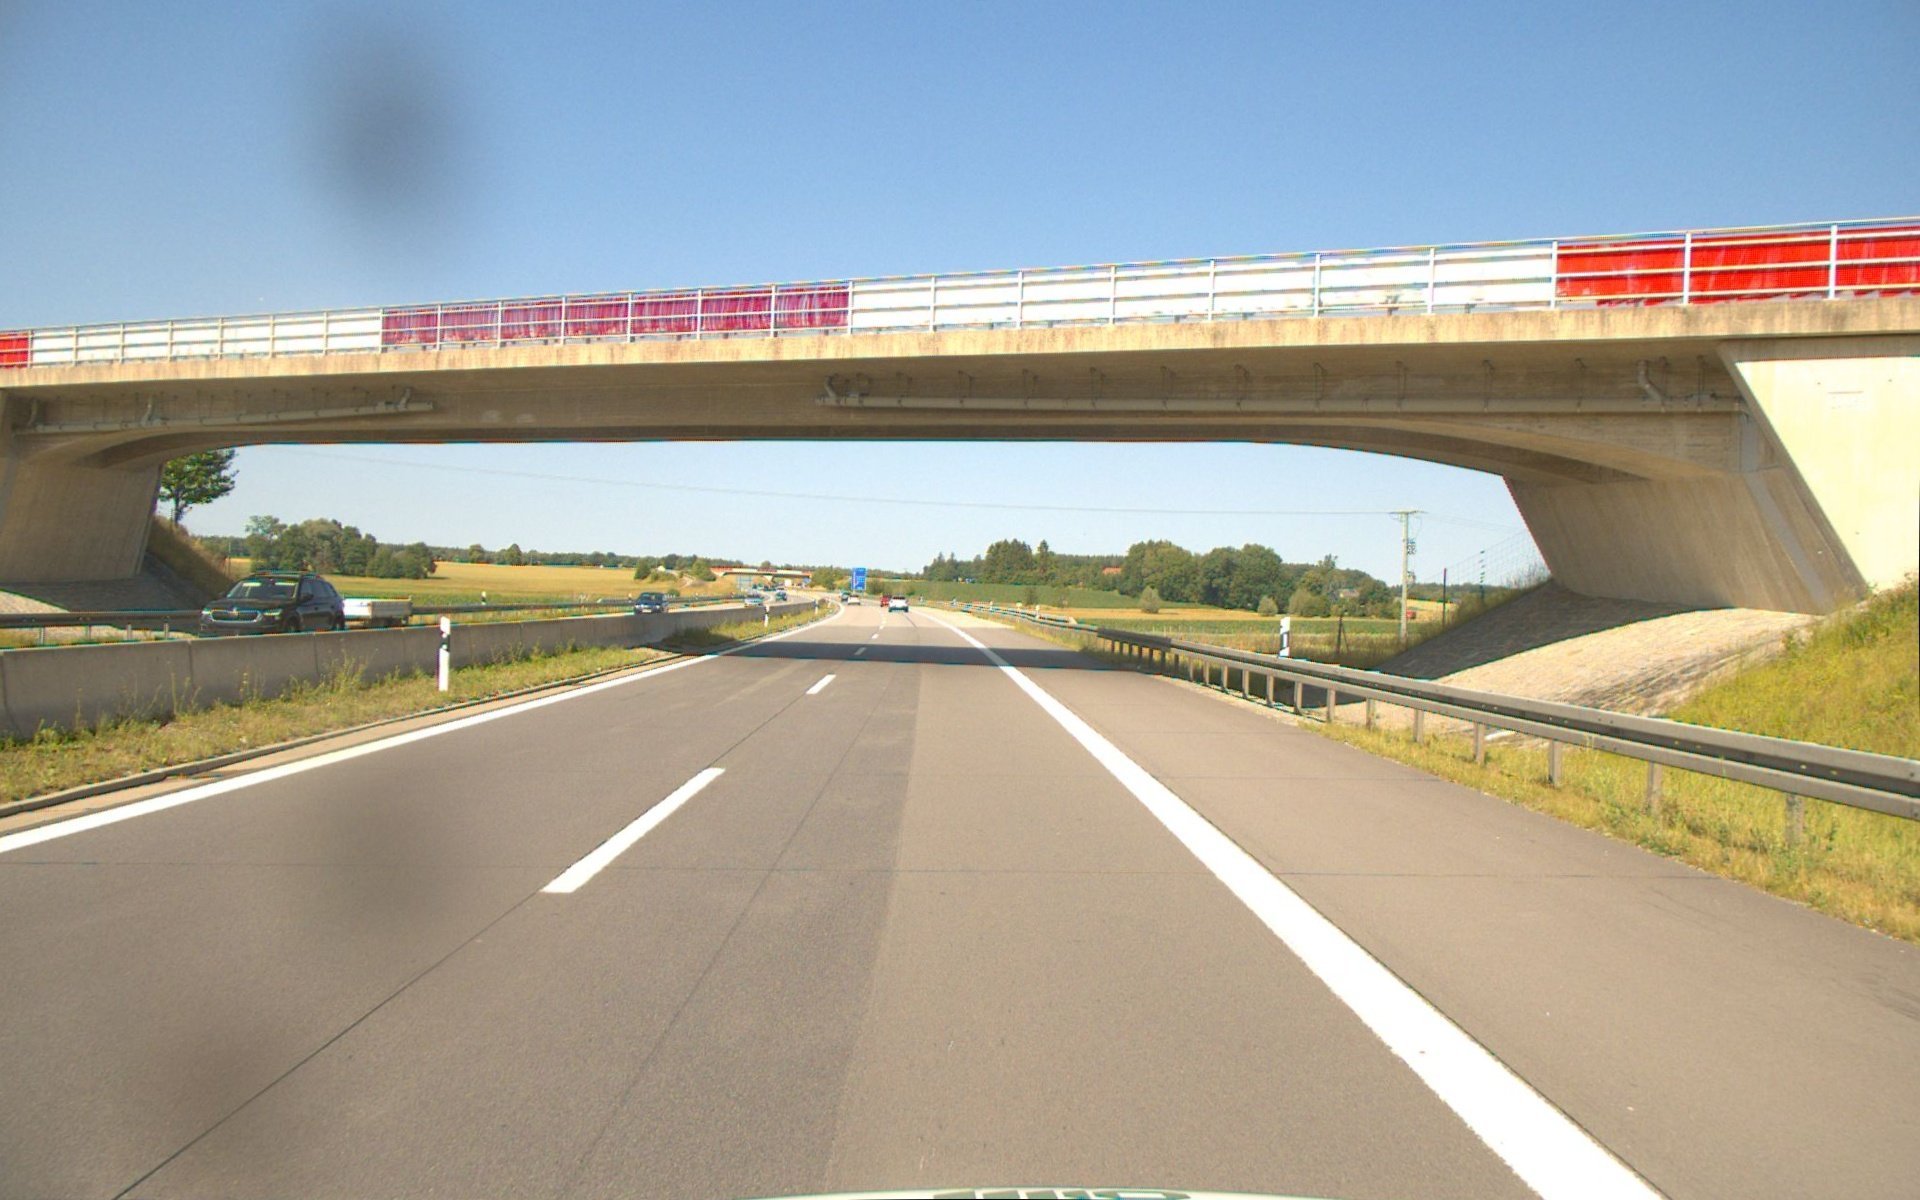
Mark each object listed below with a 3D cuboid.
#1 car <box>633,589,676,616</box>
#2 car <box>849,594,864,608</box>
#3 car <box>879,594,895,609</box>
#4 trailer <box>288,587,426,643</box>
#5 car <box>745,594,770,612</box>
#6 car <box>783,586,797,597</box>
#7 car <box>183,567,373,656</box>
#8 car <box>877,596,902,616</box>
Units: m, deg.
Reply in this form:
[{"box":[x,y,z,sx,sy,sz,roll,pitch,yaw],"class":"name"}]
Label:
[{"box":[-17.392,0.143,94.369,1.817,1.486,4.193,1,0,-2],"class":"car"},{"box":[-14.423,0.143,230.034,1.954,1.761,4.867,2,0,-3],"class":"car"},{"box":[-9.263,0.218,209.884,1.954,1.761,4.865,2,0,-4],"class":"car"},{"box":[-15.089,0.356,41.631,1.953,1.280,4.261,2,0,-2],"class":"trailer"},{"box":[-19.773,0.311,161.588,1.954,1.606,4.894,2,0,-2],"class":"car"},{"box":[-25.931,-1.253,252.360,1.822,1.540,4.583,3,0,-3],"class":"car"},{"box":[-14.972,0.220,36.685,1.953,1.761,5.586,2,0,-1],"class":"car"},{"box":[-6.785,0.586,158.528,1.956,1.761,4.861,2,0,-7],"class":"car"}]
